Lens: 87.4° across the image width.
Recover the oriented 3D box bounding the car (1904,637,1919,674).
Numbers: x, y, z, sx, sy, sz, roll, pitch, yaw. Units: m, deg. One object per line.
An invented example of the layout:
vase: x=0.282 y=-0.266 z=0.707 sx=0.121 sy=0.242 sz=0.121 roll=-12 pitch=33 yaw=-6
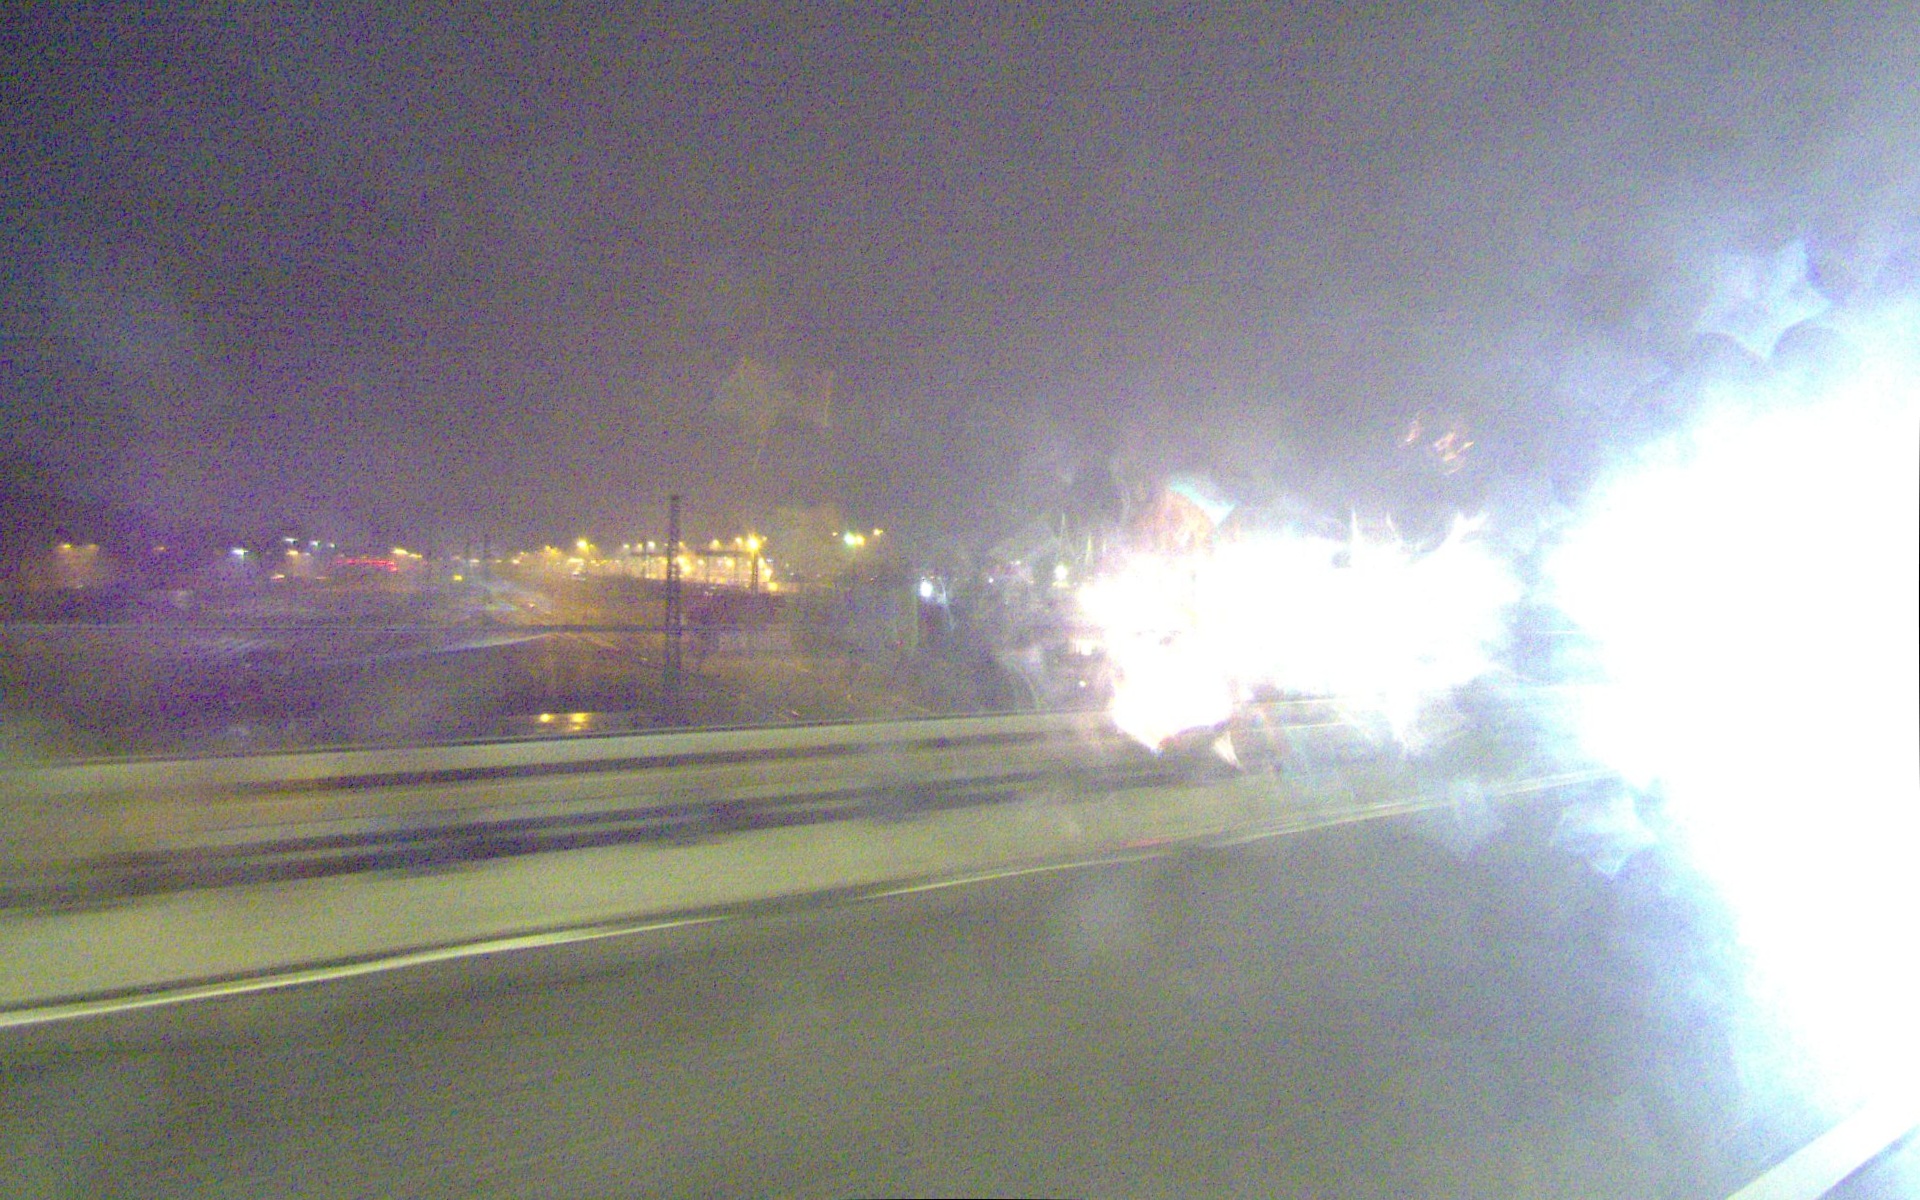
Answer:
car: x=43.897 y=2.504 z=44.847 sx=1.767 sy=1.652 sz=3.983 roll=1 pitch=-1 yaw=32

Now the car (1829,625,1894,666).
car: x=51.158 y=2.535 z=57.092 sx=2.016 sy=2.199 sz=5.140 roll=0 pitch=-1 yaw=34
